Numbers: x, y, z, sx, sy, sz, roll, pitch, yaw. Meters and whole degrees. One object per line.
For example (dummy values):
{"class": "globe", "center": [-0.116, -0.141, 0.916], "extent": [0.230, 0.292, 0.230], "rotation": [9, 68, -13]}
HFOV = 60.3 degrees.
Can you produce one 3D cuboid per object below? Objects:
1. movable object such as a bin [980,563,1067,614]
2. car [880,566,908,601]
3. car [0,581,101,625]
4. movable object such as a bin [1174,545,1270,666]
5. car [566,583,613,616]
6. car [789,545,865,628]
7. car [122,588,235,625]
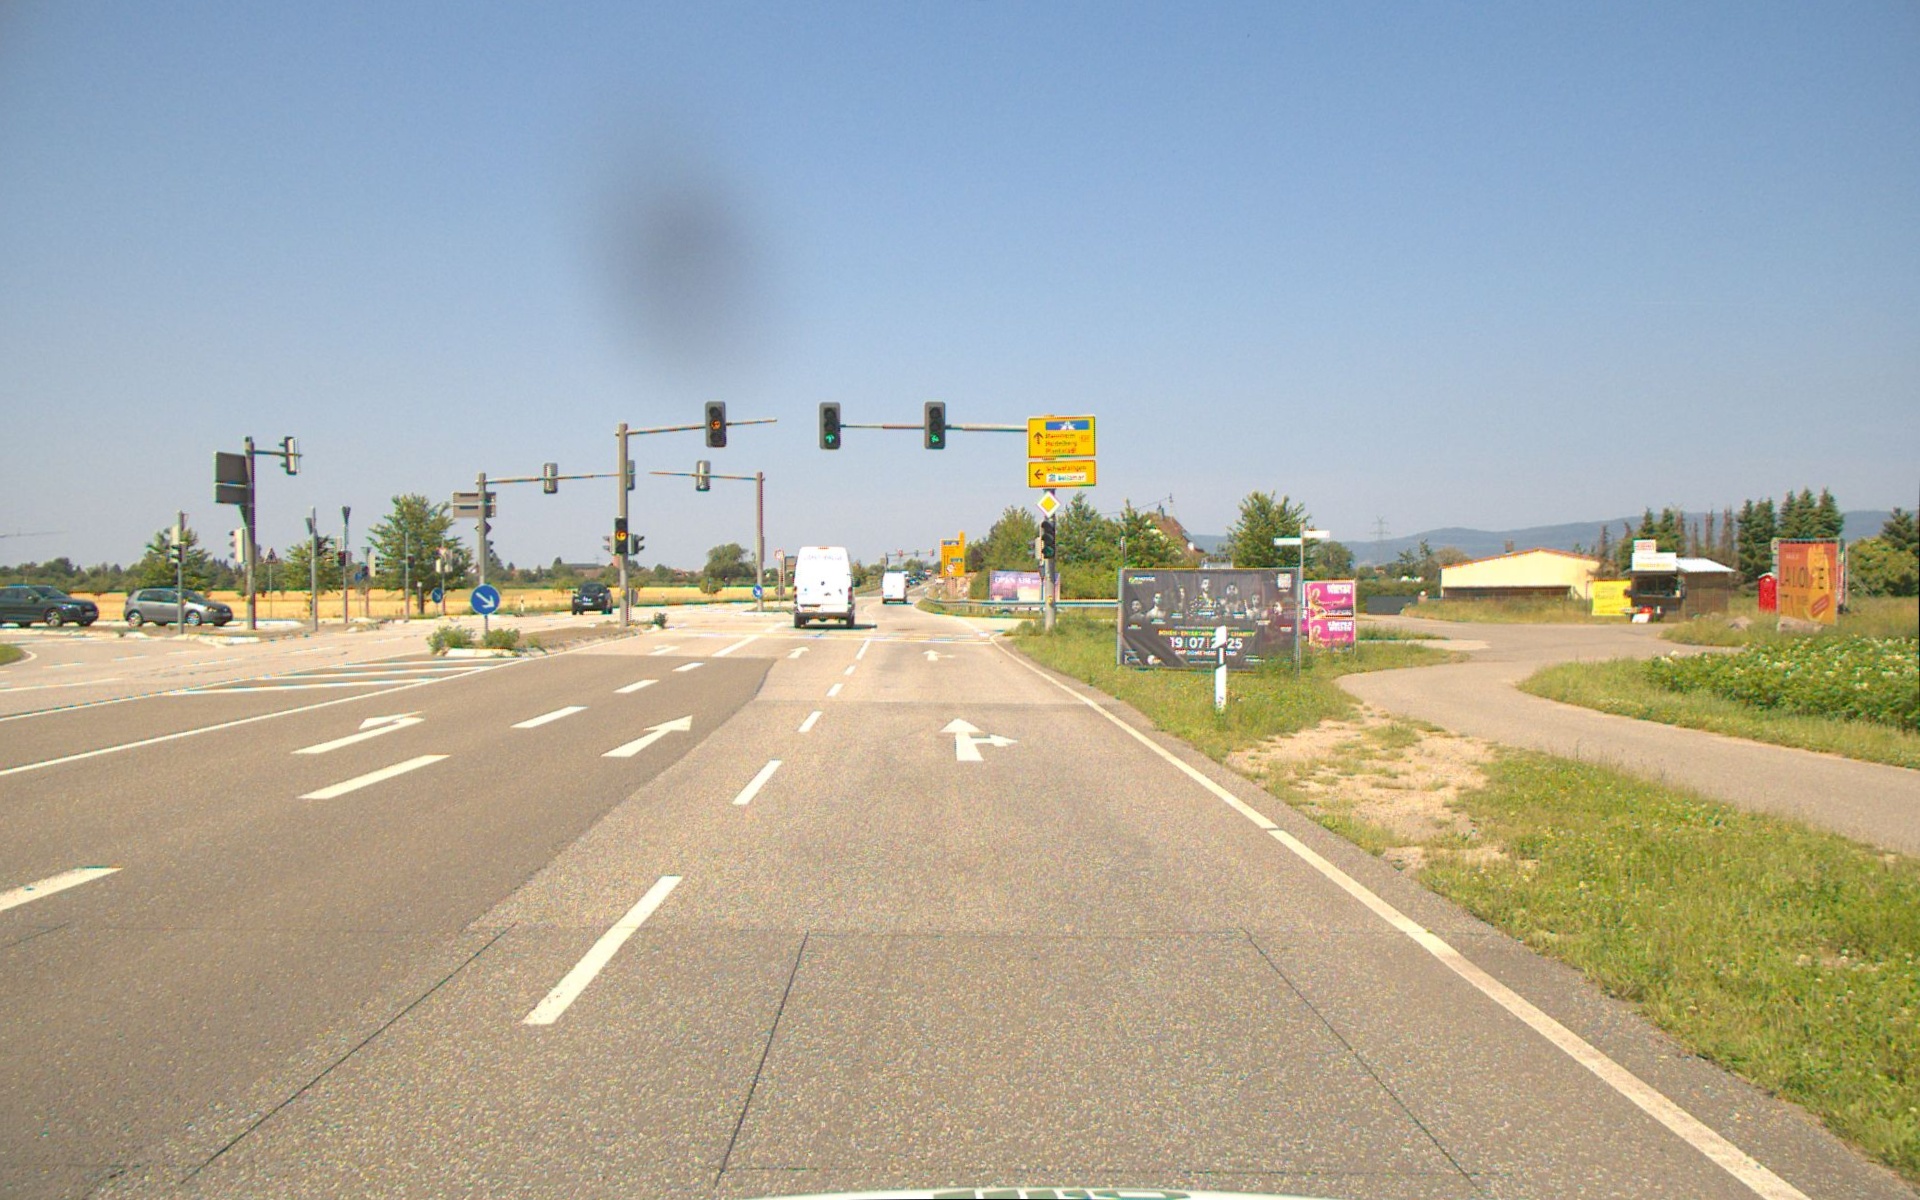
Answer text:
{"class": "movable object such as a bin", "center": [3.050, -0.539, 79.800], "extent": [4.015, 2.372, 1.276], "rotation": [1, 0, -7]}
{"class": "car", "center": [-5.431, -1.364, 136.224], "extent": [1.952, 2.742, 4.970], "rotation": [1, -1, 1]}
{"class": "car", "center": [-36.717, 0.121, 66.031], "extent": [4.262, 1.622, 1.636], "rotation": [-1, 0, 14]}
{"class": "movable object such as a bin", "center": [5.688, 0.113, 35.573], "extent": [1.489, 2.404, 4.427], "rotation": [1, 0, 16]}
{"class": "car", "center": [-18.886, -0.018, 84.447], "extent": [1.795, 1.628, 4.300], "rotation": [-1, 0, -6]}
{"class": "car", "center": [-4.452, -0.478, 56.098], "extent": [1.997, 2.665, 5.742], "rotation": [0, 1, 1]}
{"class": "car", "center": [-30.595, 0.252, 64.788], "extent": [3.785, 1.411, 1.636], "rotation": [0, 1, 11]}
